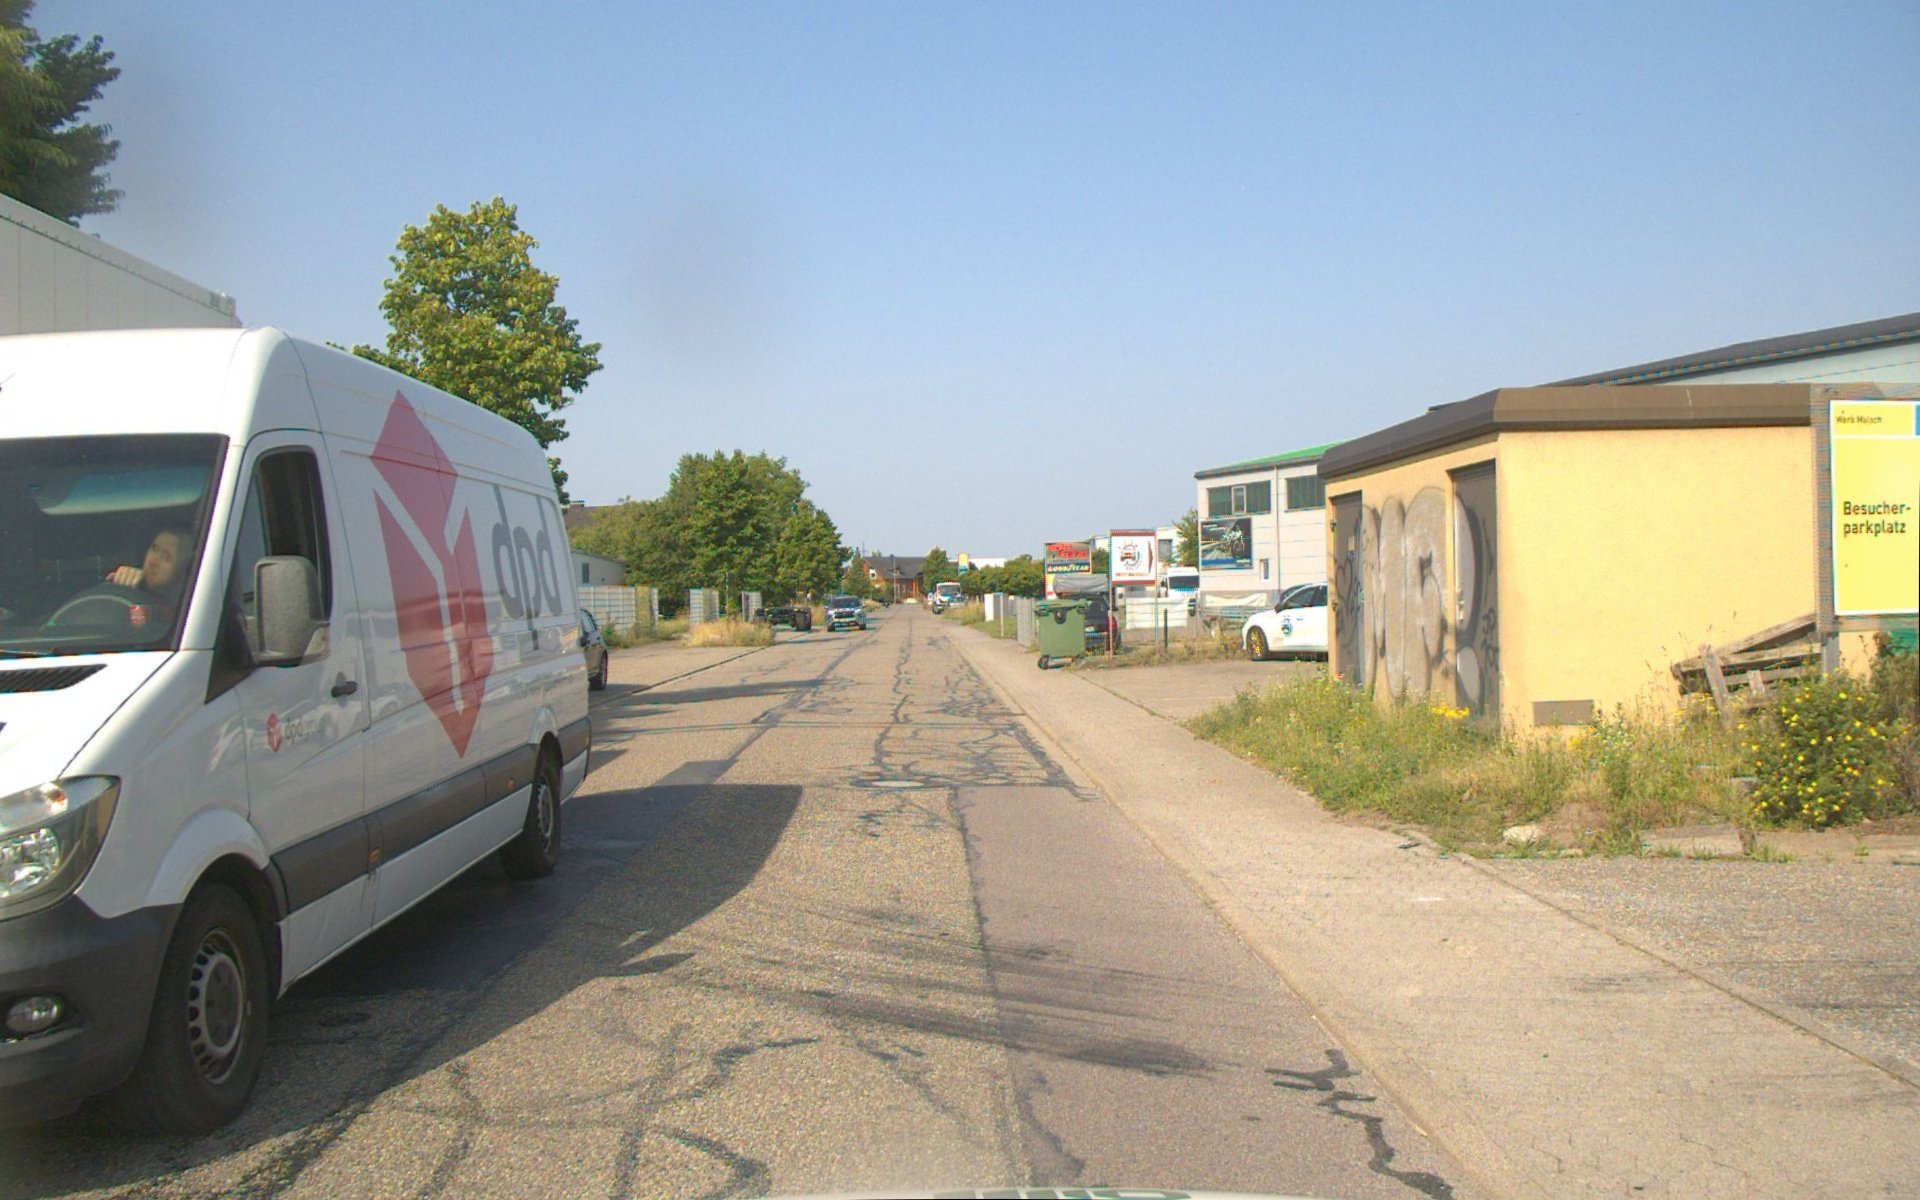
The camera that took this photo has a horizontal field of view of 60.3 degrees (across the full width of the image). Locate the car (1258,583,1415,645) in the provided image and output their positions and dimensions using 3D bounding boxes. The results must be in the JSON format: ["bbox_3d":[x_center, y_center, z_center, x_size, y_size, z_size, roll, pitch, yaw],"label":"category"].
[{"bbox_3d":[9.781,0.365,43.279,1.619,1.491,4.424,-2,0,-26],"label":"car"}]

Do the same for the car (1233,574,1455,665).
[{"bbox_3d":[6.878,0.333,30.069,1.667,1.491,4.227,-2,0,-26],"label":"car"}]

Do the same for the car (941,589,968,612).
[{"bbox_3d":[-0.394,0.031,117.299,1.758,1.544,4.422,-2,0,-2],"label":"car"}]

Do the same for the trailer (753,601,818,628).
[{"bbox_3d":[-8.471,0.678,81.135,2.530,1.205,9.359,0,0,-2],"label":"trailer"}]

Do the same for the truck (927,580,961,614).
[{"bbox_3d":[-1.415,-0.247,141.036,2.313,2.728,6.504,-2,0,-5],"label":"truck"}]

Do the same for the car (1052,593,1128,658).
[{"bbox_3d":[3.023,0.567,39.067,1.639,1.392,4.395,-1,0,3],"label":"car"}]

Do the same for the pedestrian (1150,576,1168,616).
[{"bbox_3d":[8.380,-0.163,69.773,0.687,1.668,0.749,-1,0,9],"label":"pedestrian"}]

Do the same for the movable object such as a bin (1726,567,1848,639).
[{"bbox_3d":[16.492,0.049,33.040,0.983,1.369,1.994,-2,1,-24],"label":"movable object such as a bin"}]

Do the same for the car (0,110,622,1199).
[{"bbox_3d":[-3.137,0.194,7.235,1.953,2.591,6.988,-2,0,-1],"label":"car"}]

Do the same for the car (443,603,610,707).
[{"bbox_3d":[-6.999,0.835,27.115,1.653,1.496,4.093,-1,0,-1],"label":"car"}]

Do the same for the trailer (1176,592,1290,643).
[{"bbox_3d":[7.047,0.432,42.937,1.473,1.270,2.950,0,0,-27],"label":"trailer"}]

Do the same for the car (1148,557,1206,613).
[{"bbox_3d":[11.119,-0.754,84.958,1.934,2.753,5.878,-1,0,-2],"label":"car"}]

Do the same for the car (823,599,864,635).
[{"bbox_3d":[-5.599,0.796,79.709,1.775,1.655,4.247,-2,0,-2],"label":"car"}]

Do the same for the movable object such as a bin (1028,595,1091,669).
[{"bbox_3d":[1.976,0.618,33.137,1.059,1.376,1.505,-4,0,-1],"label":"movable object such as a bin"}]

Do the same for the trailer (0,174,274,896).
[{"bbox_3d":[-6.544,-0.352,8.024,2.645,3.952,9.761,0,0,-2],"label":"trailer"}]
